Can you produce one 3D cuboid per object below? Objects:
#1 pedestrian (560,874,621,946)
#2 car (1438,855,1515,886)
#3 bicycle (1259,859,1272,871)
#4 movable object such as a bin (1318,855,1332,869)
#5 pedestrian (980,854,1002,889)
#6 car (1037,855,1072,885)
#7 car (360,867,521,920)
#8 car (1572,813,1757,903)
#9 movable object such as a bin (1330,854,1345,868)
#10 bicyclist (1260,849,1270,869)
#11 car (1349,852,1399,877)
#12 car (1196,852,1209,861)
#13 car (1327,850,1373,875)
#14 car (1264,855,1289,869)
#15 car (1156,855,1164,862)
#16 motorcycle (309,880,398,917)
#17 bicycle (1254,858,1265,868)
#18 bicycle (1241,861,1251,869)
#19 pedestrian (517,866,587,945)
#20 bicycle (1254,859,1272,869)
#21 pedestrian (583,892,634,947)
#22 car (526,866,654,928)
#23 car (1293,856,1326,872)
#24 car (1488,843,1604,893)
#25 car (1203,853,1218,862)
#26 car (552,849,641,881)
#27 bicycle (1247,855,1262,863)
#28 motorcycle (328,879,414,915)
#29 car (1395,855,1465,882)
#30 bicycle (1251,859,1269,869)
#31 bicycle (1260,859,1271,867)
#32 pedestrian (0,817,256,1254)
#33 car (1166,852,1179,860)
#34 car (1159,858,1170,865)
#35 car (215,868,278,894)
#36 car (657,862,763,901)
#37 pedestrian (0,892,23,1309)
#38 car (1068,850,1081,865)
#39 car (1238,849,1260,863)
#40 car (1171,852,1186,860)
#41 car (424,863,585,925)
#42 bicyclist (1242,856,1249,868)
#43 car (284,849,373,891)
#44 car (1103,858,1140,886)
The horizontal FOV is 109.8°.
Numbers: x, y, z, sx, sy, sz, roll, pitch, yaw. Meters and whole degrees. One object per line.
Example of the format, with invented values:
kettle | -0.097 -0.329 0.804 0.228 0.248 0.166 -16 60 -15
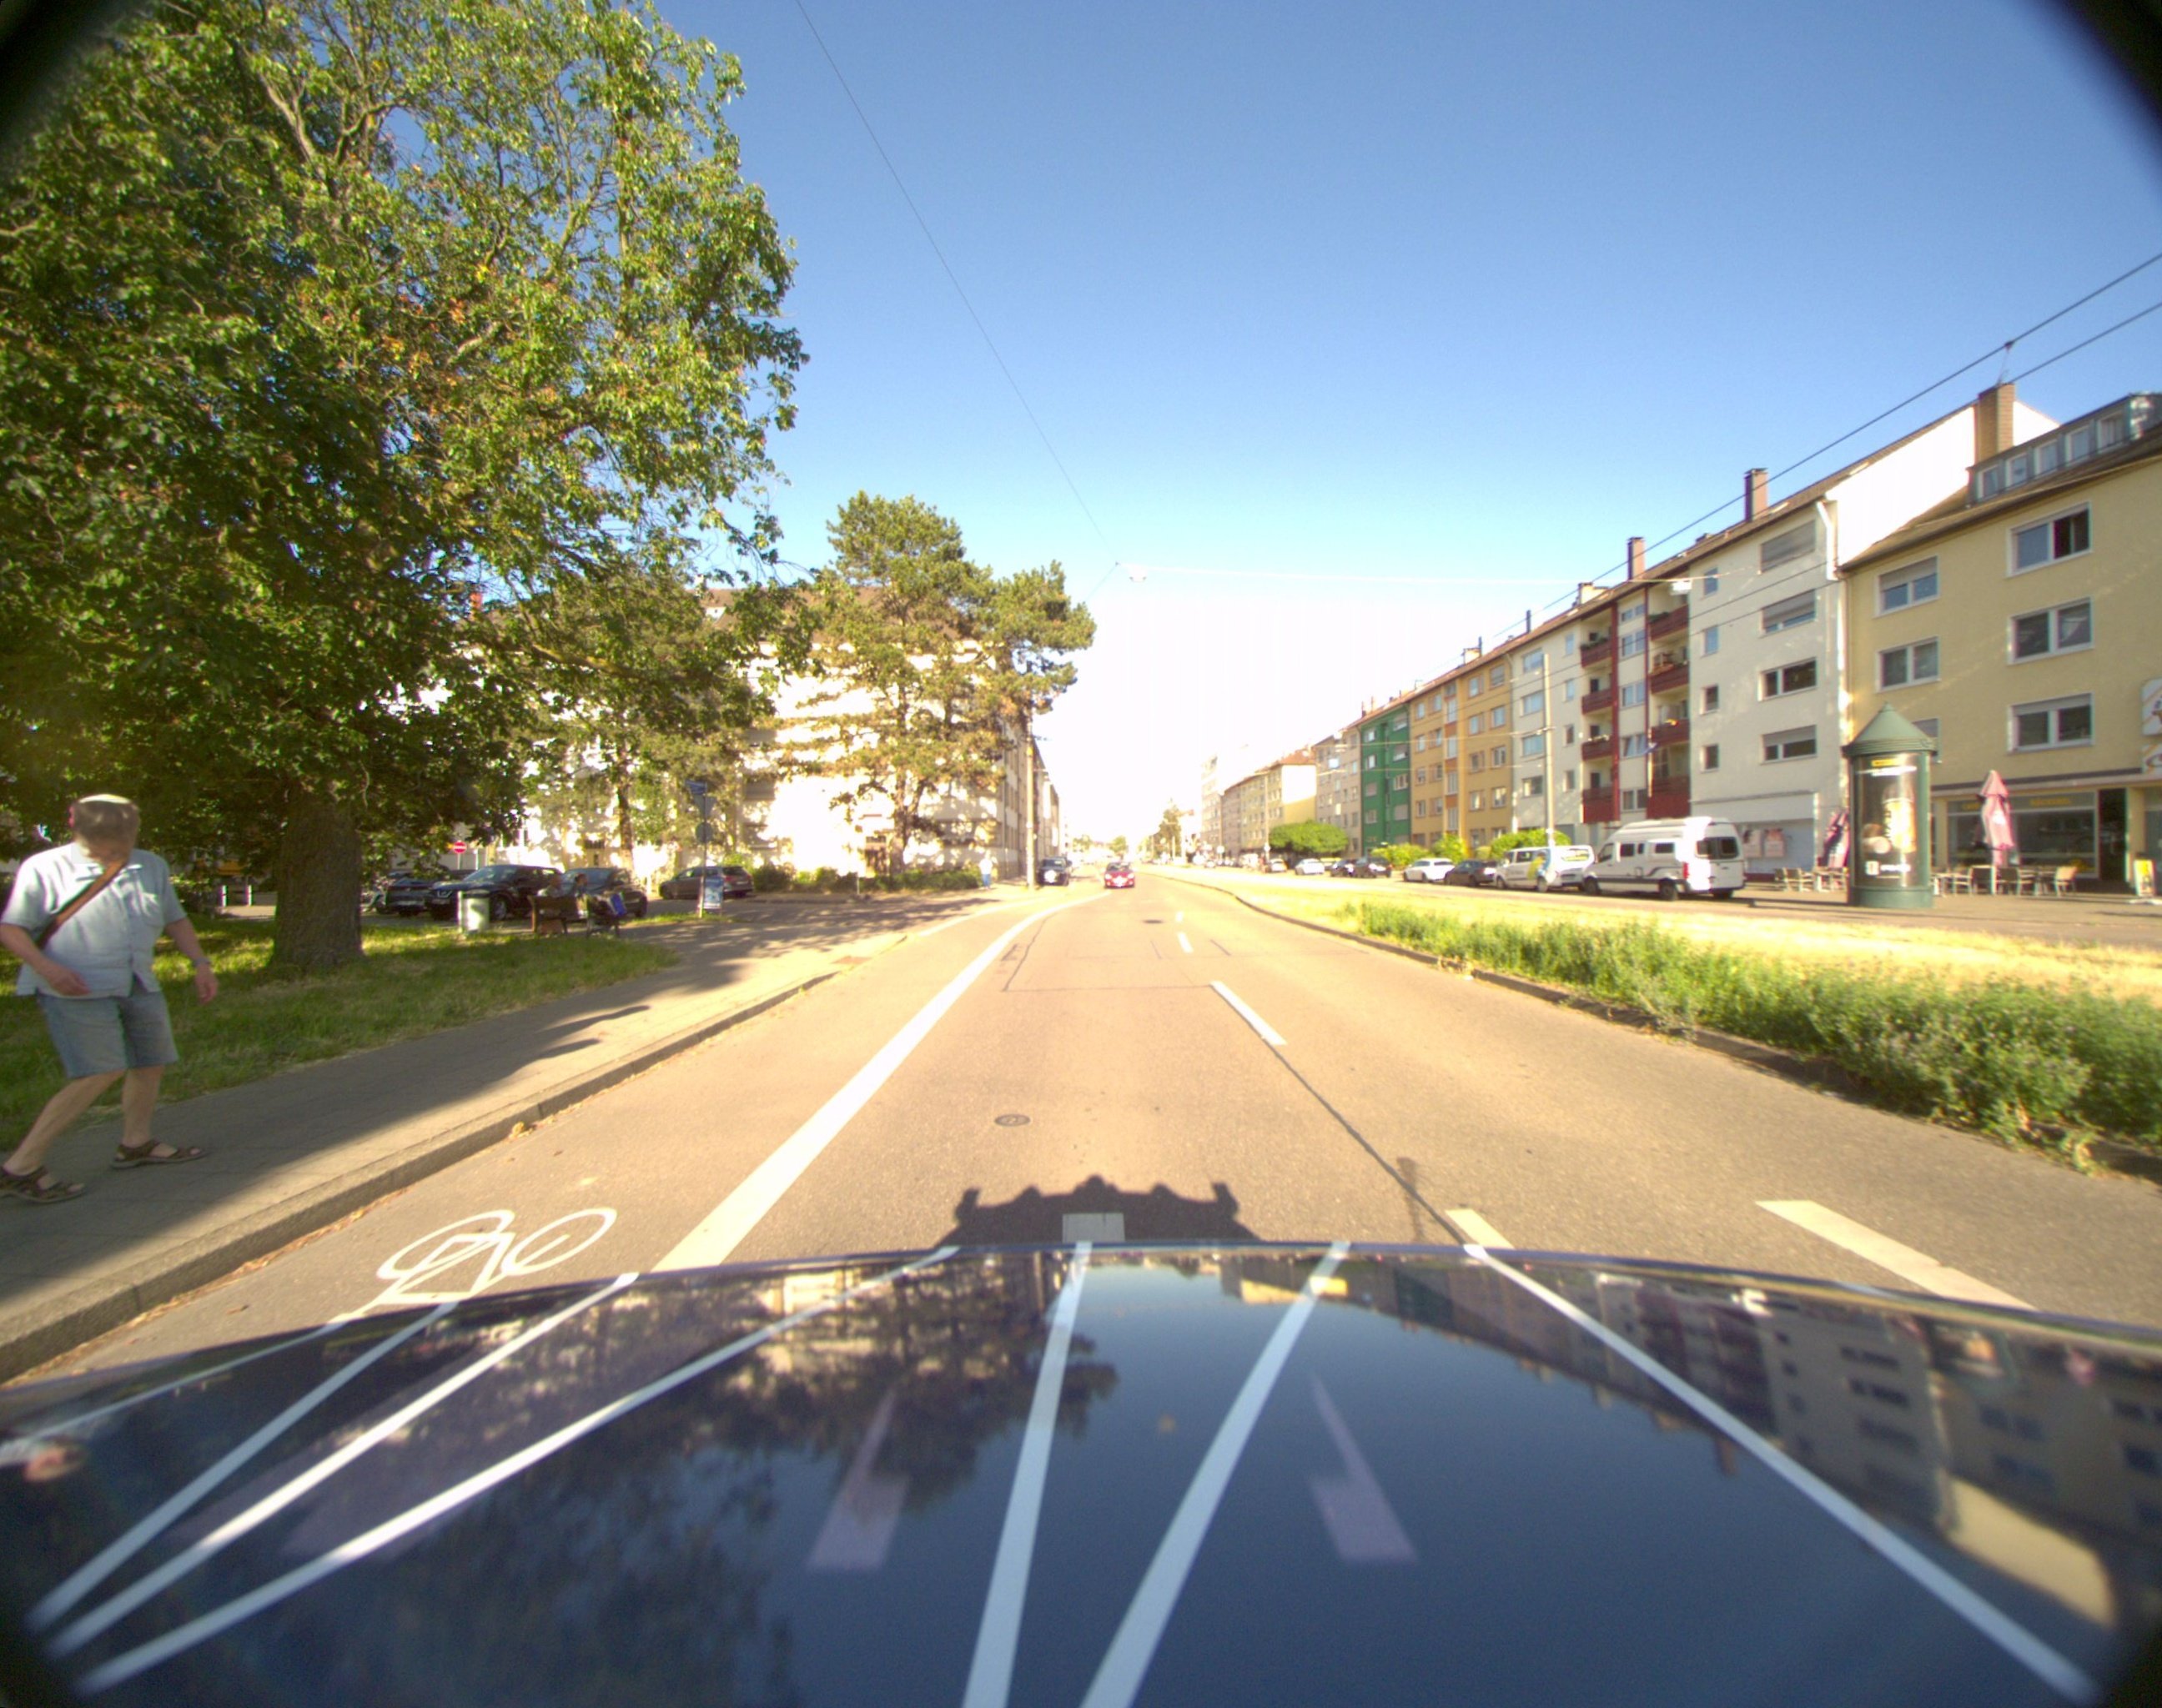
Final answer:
pedestrian | -8.874 0.998 13.752 0.403 1.219 0.762 -3 0 27
car | 21.012 0.841 40.546 1.699 1.506 4.325 -2 0 -2
bicycle | 18.793 1.086 77.469 0.770 1.139 2.474 1 0 1
movable object such as a bin | 25.549 0.811 79.587 1.149 1.360 1.039 -3 1 3
pedestrian | -4.390 0.843 37.071 0.882 1.712 0.725 0 0 6
car | -1.614 0.954 47.867 1.883 1.707 4.934 2 0 1
car | -19.427 1.140 23.324 1.640 1.432 4.239 0 0 -5
car | 21.026 0.131 27.877 2.037 2.852 6.228 -2 0 1
movable object such as a bin | 26.849 0.738 79.595 1.149 1.360 1.039 -3 1 3
bicyclist | 18.855 0.557 77.722 0.775 2.002 0.648 -3 0 1
car | 21.370 0.739 55.564 1.998 1.598 4.151 -3 0 0
car | 27.553 0.478 172.921 1.999 1.887 4.669 -3 0 -2
car | 21.364 0.669 60.605 1.998 1.827 4.609 -3 0 0
car | 21.683 0.923 84.200 1.640 1.433 3.733 -3 0 -2
car | 18.601 1.084 179.069 1.617 1.550 4.000 1 0 0
motorcycle | -21.825 1.343 22.825 1.785 1.066 0.713 2 -1 -16
bicycle | 21.188 1.057 90.098 0.511 1.086 1.934 -3 0 -11
bicycle | 19.445 1.256 89.592 0.770 0.874 2.069 1 0 1
pedestrian | -9.618 0.931 13.825 0.685 1.365 0.756 -3 0 27
bicycle | 22.187 1.192 92.575 2.052 1.086 0.616 -3 0 6
pedestrian | -8.426 1.158 13.559 0.403 0.928 0.624 -3 -2 27
car | -13.319 1.101 20.868 1.641 1.485 3.805 0 0 -11
car | 21.401 0.909 71.254 1.733 1.446 4.376 -2 0 1
car | 21.094 0.590 34.780 2.037 2.009 5.371 -3 0 1
car | 20.909 0.609 122.912 1.698 1.439 4.217 0 0 1
car | -23.387 0.528 36.691 3.902 1.461 1.773 1 0 24
bicycle | 26.466 0.690 115.868 2.103 1.099 0.472 -3 0 1
motorcycle | -22.040 1.326 23.613 1.785 1.066 0.713 2 -1 -16
car | 21.076 0.841 46.095 1.897 1.483 4.702 -3 0 -2
bicycle | 22.342 1.259 94.889 2.052 1.086 0.616 -3 0 6
bicycle | 21.930 1.093 90.330 0.377 0.860 2.053 -3 0 -11
pedestrian | -4.542 0.740 3.485 0.704 1.779 0.694 2 -1 6
car | 18.550 0.382 154.648 1.788 1.519 4.413 0 0 -5
car | 18.554 1.650 169.192 1.862 1.541 4.240 2 0 -2
car | -60.478 1.964 55.058 3.991 1.601 1.803 -3 0 24
car | -16.222 1.168 33.226 4.294 1.493 1.772 0 3 24
pedestrian | -4.233 0.900 2.537 0.530 1.520 0.628 1 1 6
car | -1.099 0.610 135.774 2.156 2.680 6.292 1 0 0
car | 26.396 0.338 119.726 1.999 1.938 5.499 -3 0 -3
car | 19.009 0.413 148.170 1.839 1.377 4.413 0 0 -6
car | -16.053 1.050 21.420 1.455 1.563 3.810 0 0 4
bicyclist | 19.390 0.906 89.622 0.775 1.376 0.648 0 0 1
car | -48.455 1.043 48.901 5.306 2.428 2.129 -3 0 24
car | 2.195 0.949 42.004 1.862 1.461 3.809 0 0 1
